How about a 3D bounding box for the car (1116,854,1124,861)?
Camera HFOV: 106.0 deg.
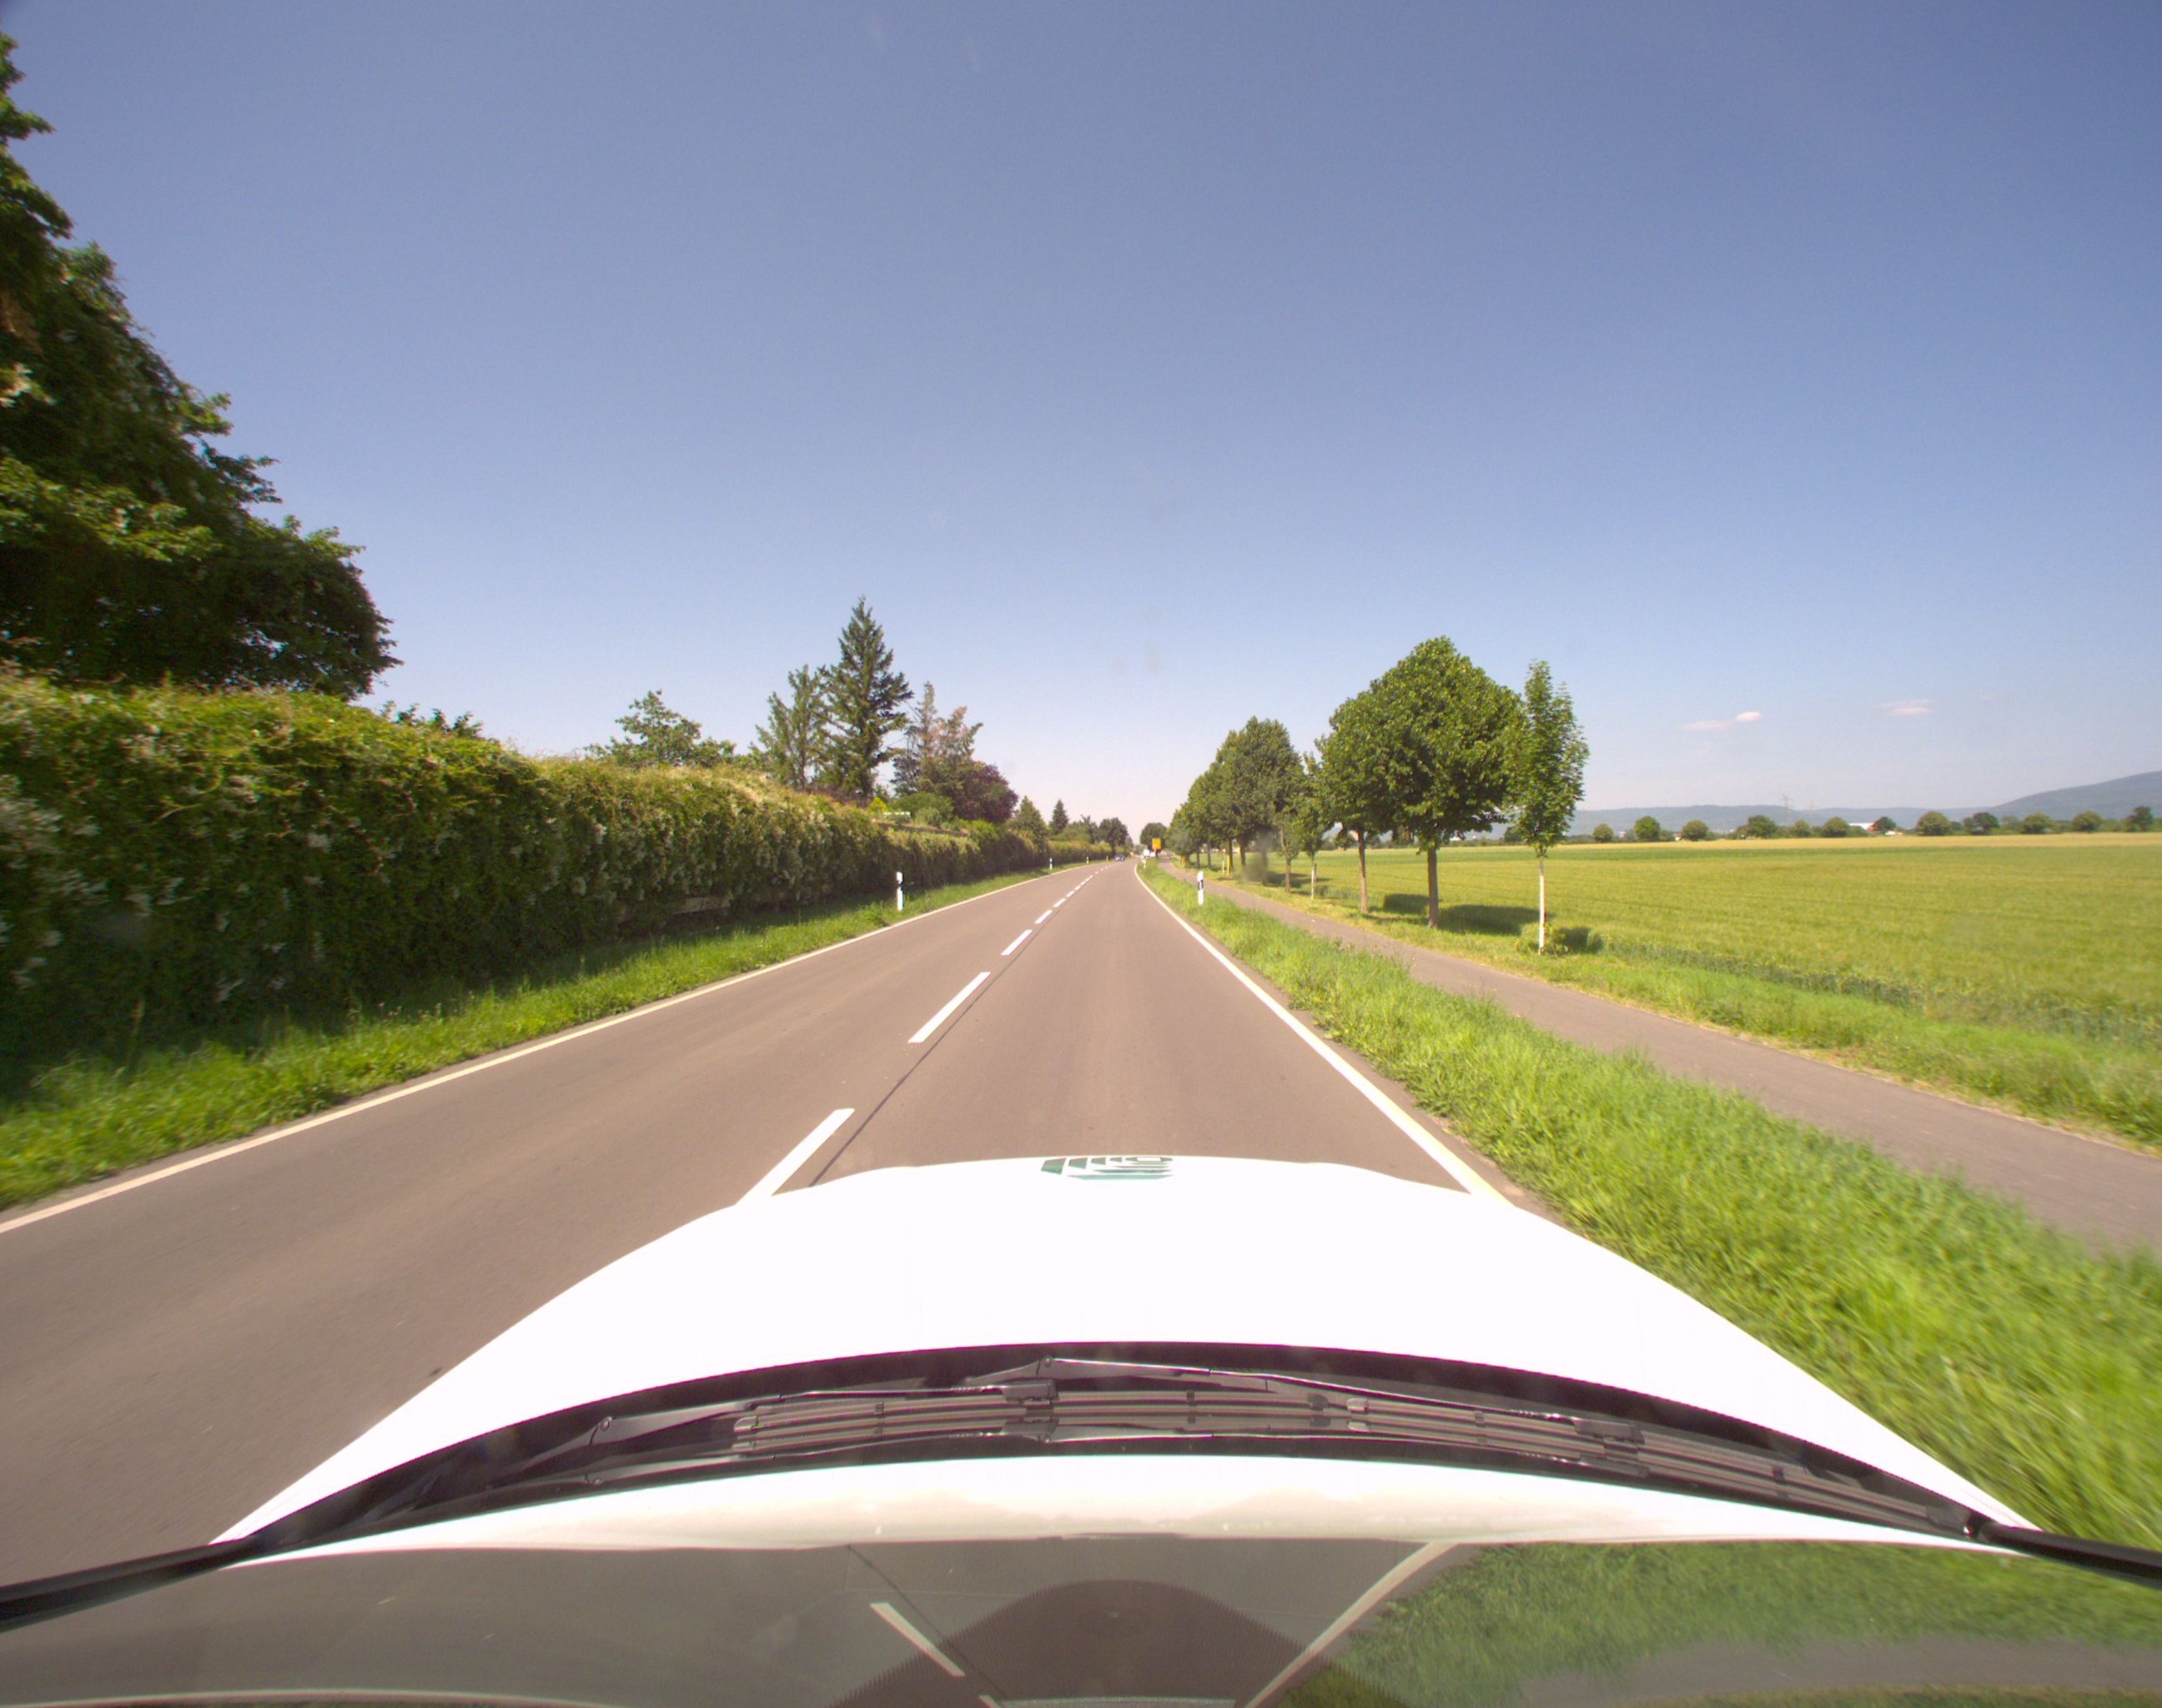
[{"bbox_3d":[8.325,0.771,173.903,1.833,1.467,3.935,-1,0,2],"label":"car"}]
